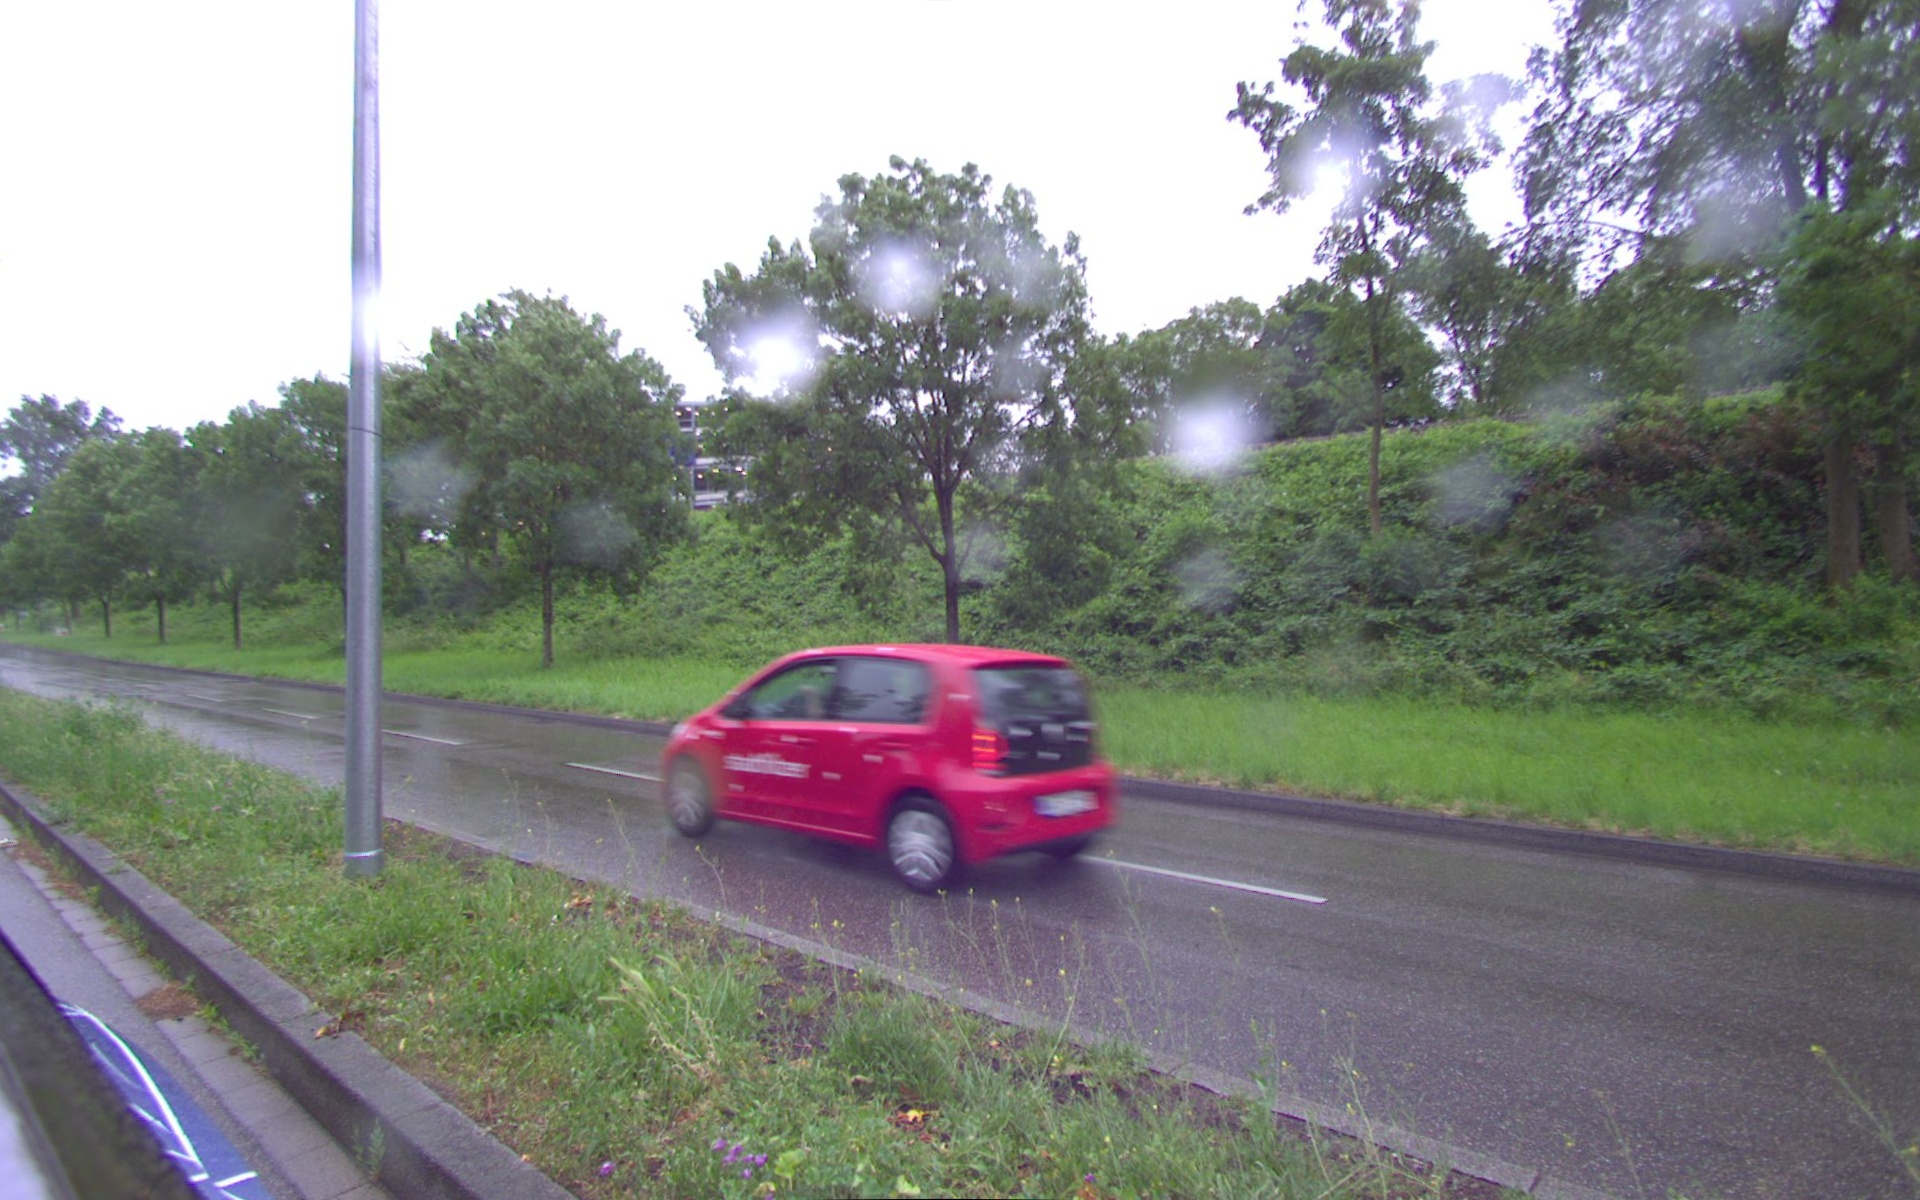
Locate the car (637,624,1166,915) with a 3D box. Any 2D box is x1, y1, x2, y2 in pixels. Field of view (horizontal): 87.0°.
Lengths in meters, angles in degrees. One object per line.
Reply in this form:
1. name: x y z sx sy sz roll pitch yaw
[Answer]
1. car: -0.554 0.972 7.191 3.613 1.525 1.697 -2 -4 42
